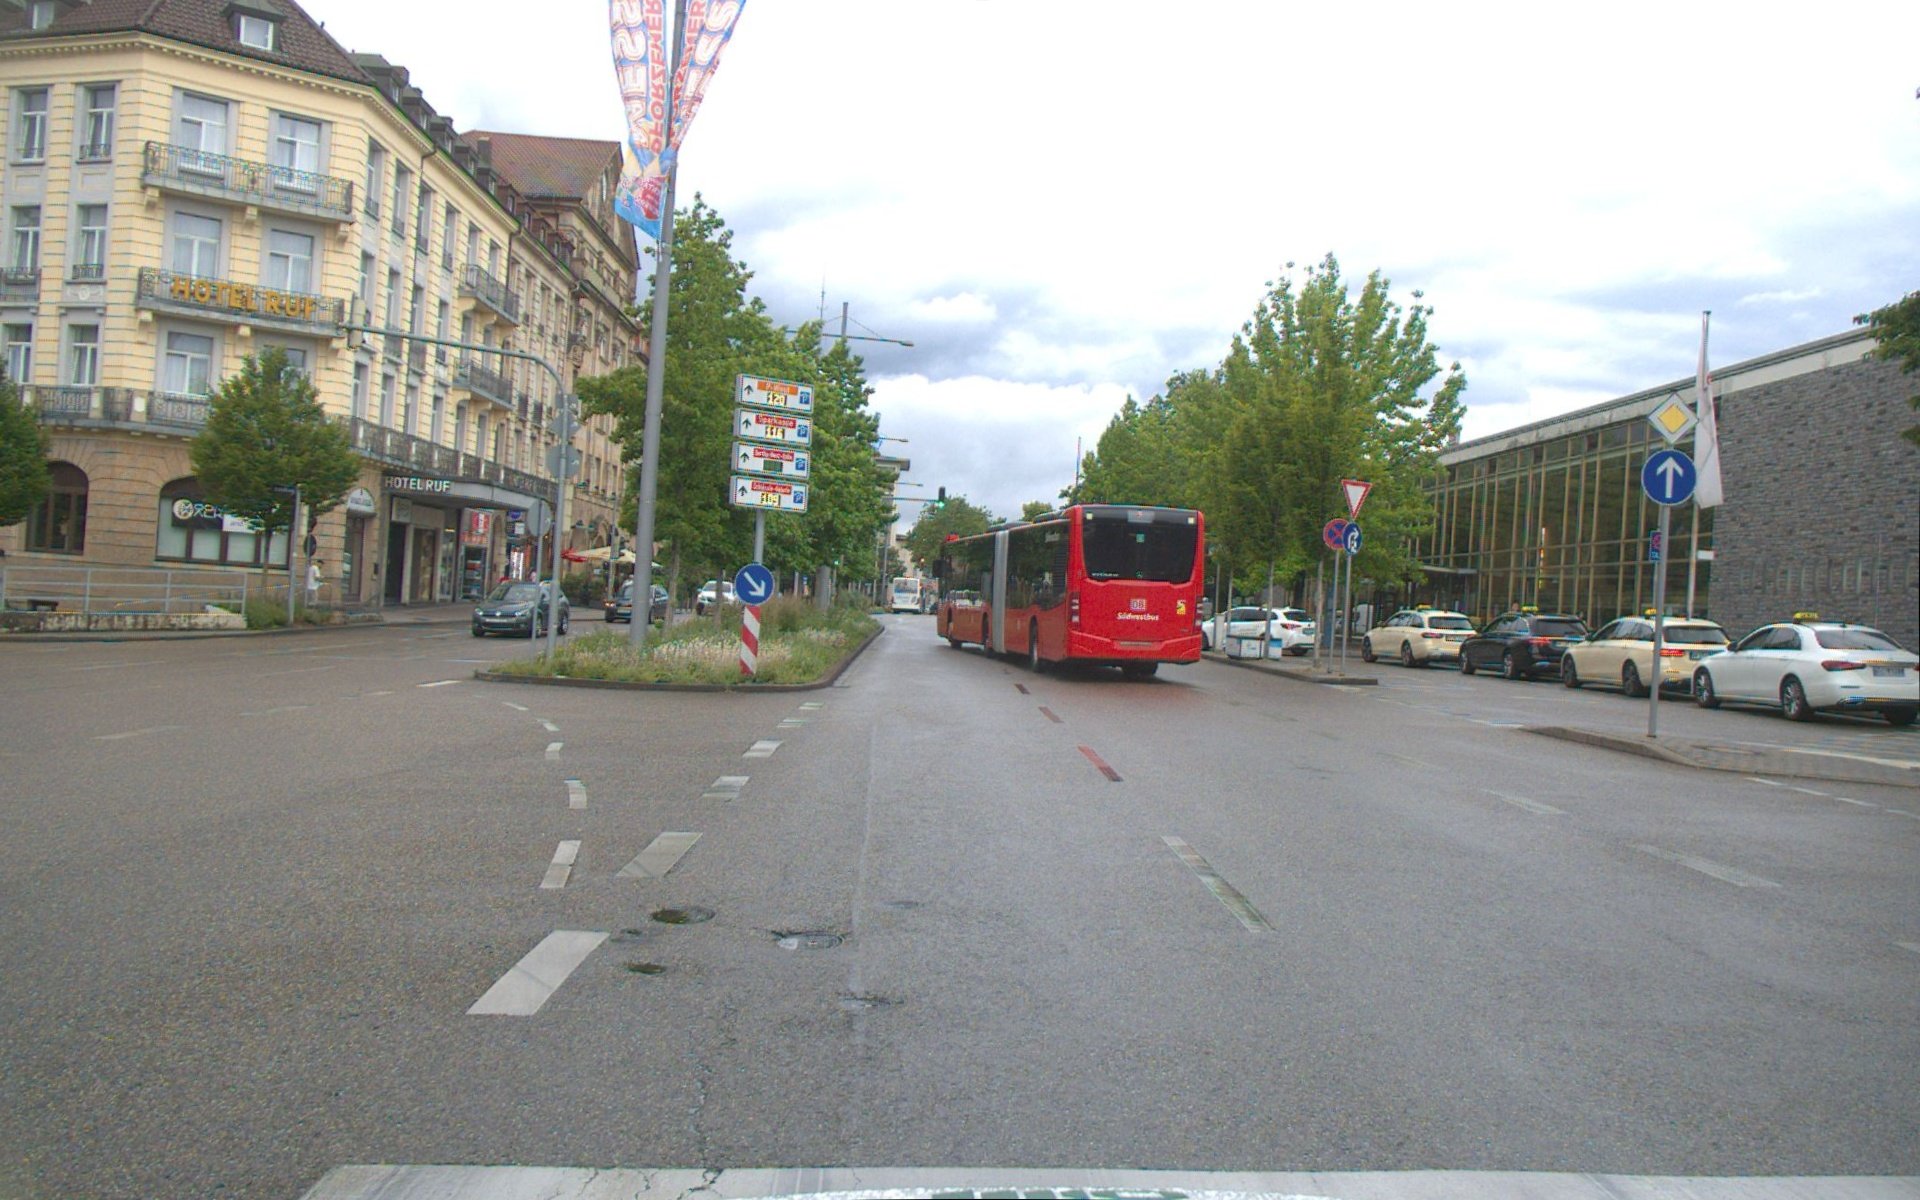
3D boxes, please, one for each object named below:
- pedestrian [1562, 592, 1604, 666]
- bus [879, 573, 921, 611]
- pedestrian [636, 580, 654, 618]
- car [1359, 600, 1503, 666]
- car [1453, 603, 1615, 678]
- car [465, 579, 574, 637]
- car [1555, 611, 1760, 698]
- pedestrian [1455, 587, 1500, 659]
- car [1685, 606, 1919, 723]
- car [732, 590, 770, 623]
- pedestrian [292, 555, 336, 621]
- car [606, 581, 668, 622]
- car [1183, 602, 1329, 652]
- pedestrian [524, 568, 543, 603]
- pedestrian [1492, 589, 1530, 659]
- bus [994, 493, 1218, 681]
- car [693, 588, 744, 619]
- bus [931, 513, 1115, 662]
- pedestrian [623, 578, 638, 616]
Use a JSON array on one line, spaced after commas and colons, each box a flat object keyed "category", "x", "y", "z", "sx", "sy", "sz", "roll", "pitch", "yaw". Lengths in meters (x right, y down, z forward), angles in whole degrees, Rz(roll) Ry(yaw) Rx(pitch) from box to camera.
[{"category": "pedestrian", "x": 17.534, "y": 0.802, "z": 46.563, "sx": 0.795, "sy": 2.049, "sz": 0.921, "roll": 2, "pitch": 0, "yaw": -2}, {"category": "bus", "x": -5.630, "y": -0.747, "z": 155.785, "sx": 3.685, "sy": 3.265, "sz": 15.519, "roll": 1, "pitch": 0, "yaw": -2}, {"category": "pedestrian", "x": -14.740, "y": -0.050, "z": 77.387, "sx": 0.661, "sy": 1.731, "sz": 0.633, "roll": 2, "pitch": 0, "yaw": -1}, {"category": "car", "x": 12.562, "y": 0.849, "z": 44.469, "sx": 1.956, "sy": 1.628, "sz": 4.814, "roll": 1, "pitch": 0, "yaw": -8}, {"category": "car", "x": 13.063, "y": 0.883, "z": 37.992, "sx": 1.875, "sy": 1.551, "sz": 4.740, "roll": 1, "pitch": 0, "yaw": -3}, {"category": "car", "x": -11.927, "y": 0.212, "z": 45.006, "sx": 1.718, "sy": 1.466, "sz": 4.061, "roll": 2, "pitch": 0, "yaw": 2}, {"category": "car", "x": 13.254, "y": 0.988, "z": 31.772, "sx": 1.809, "sy": 1.477, "sz": 4.664, "roll": 1, "pitch": 0, "yaw": -2}, {"category": "pedestrian", "x": 14.975, "y": 0.656, "z": 47.829, "sx": 0.801, "sy": 2.049, "sz": 0.914, "roll": 2, "pitch": 0, "yaw": -25}, {"category": "car", "x": 13.383, "y": 0.945, "z": 26.055, "sx": 1.739, "sy": 1.617, "sz": 4.614, "roll": 1, "pitch": 0, "yaw": -2}, {"category": "car", "x": -11.714, "y": 0.345, "z": 92.768, "sx": 1.955, "sy": 1.789, "sz": 3.995, "roll": 2, "pitch": 0, "yaw": -6}, {"category": "pedestrian", "x": -18.951, "y": -0.345, "z": 48.526, "sx": 0.845, "sy": 1.911, "sz": 1.022, "roll": 2, "pitch": 0, "yaw": -1}, {"category": "car", "x": -12.041, "y": 0.040, "z": 61.855, "sx": 1.720, "sy": 1.393, "sz": 4.057, "roll": 2, "pitch": 1, "yaw": -4}, {"category": "car", "x": 9.105, "y": 0.812, "z": 51.184, "sx": 1.764, "sy": 1.409, "sz": 4.303, "roll": 1, "pitch": 0, "yaw": -41}, {"category": "pedestrian", "x": -19.168, "y": -0.665, "z": 74.340, "sx": 0.656, "sy": 1.537, "sz": 0.512, "roll": 1, "pitch": 0, "yaw": -39}, {"category": "pedestrian", "x": 16.362, "y": 0.706, "z": 49.129, "sx": 0.795, "sy": 2.049, "sz": 0.921, "roll": 2, "pitch": 0, "yaw": 0}, {"category": "bus", "x": 2.653, "y": -0.241, "z": 32.978, "sx": 2.691, "sy": 3.229, "sz": 8.106, "roll": 1, "pitch": 0, "yaw": -8}, {"category": "car", "x": -11.567, "y": 0.174, "z": 79.483, "sx": 1.718, "sy": 1.393, "sz": 4.061, "roll": 2, "pitch": 0, "yaw": 2}, {"category": "bus", "x": 1.327, "y": -0.291, "z": 41.749, "sx": 2.692, "sy": 3.229, "sz": 10.174, "roll": 1, "pitch": 0, "yaw": -9}, {"category": "pedestrian", "x": -15.401, "y": -0.124, "z": 77.325, "sx": 0.563, "sy": 1.762, "sz": 0.609, "roll": 2, "pitch": 0, "yaw": -1}]
